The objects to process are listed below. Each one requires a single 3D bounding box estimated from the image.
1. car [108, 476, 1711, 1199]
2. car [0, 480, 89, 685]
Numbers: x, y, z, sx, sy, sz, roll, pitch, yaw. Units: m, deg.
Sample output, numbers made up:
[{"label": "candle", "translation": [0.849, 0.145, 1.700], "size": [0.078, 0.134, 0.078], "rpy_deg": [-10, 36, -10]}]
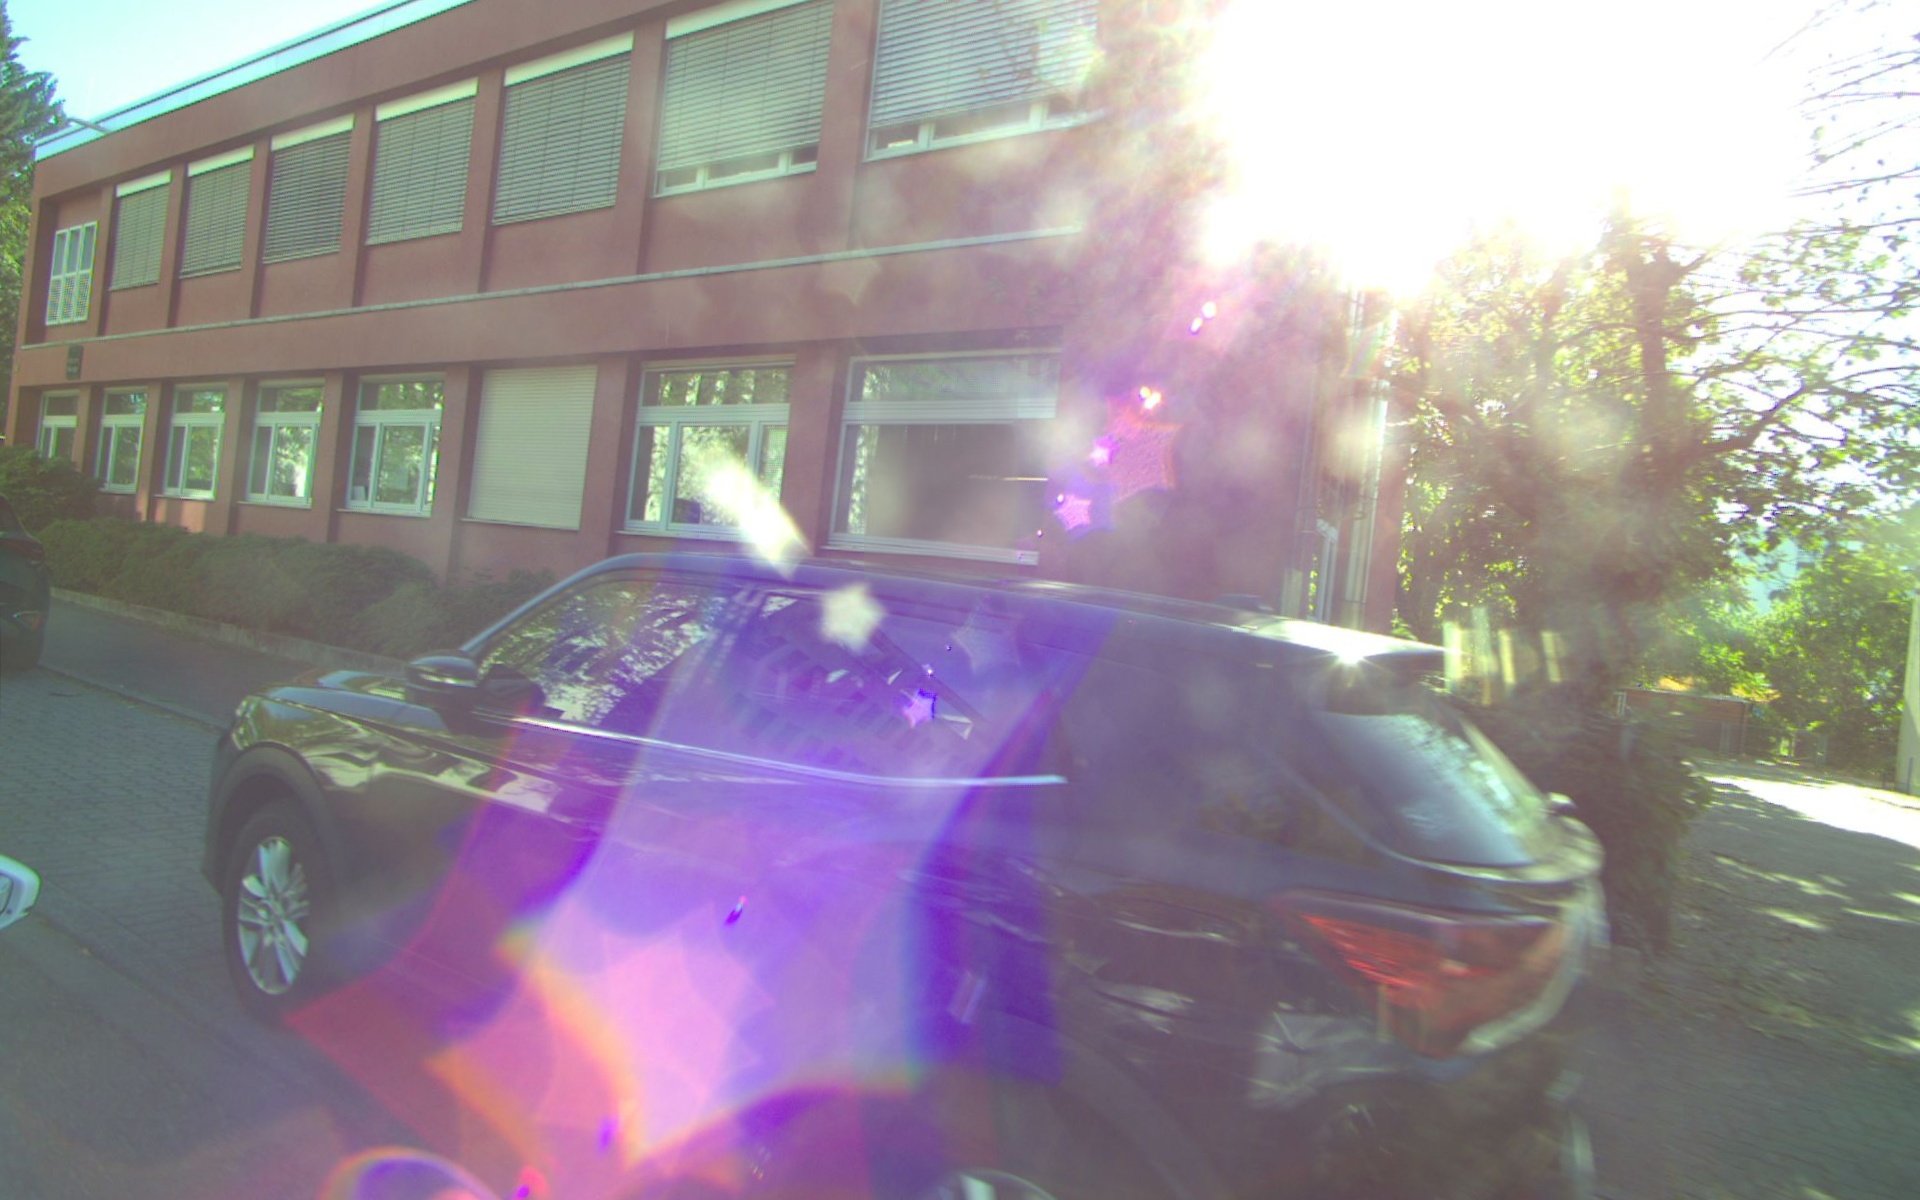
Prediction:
[{"label": "car", "translation": [-0.558, 0.657, 3.137], "size": [4.334, 1.650, 1.876], "rpy_deg": [6, 0, 32]}, {"label": "car", "translation": [-9.760, -0.361, 8.845], "size": [4.300, 1.650, 1.901], "rpy_deg": [6, 0, 32]}]
